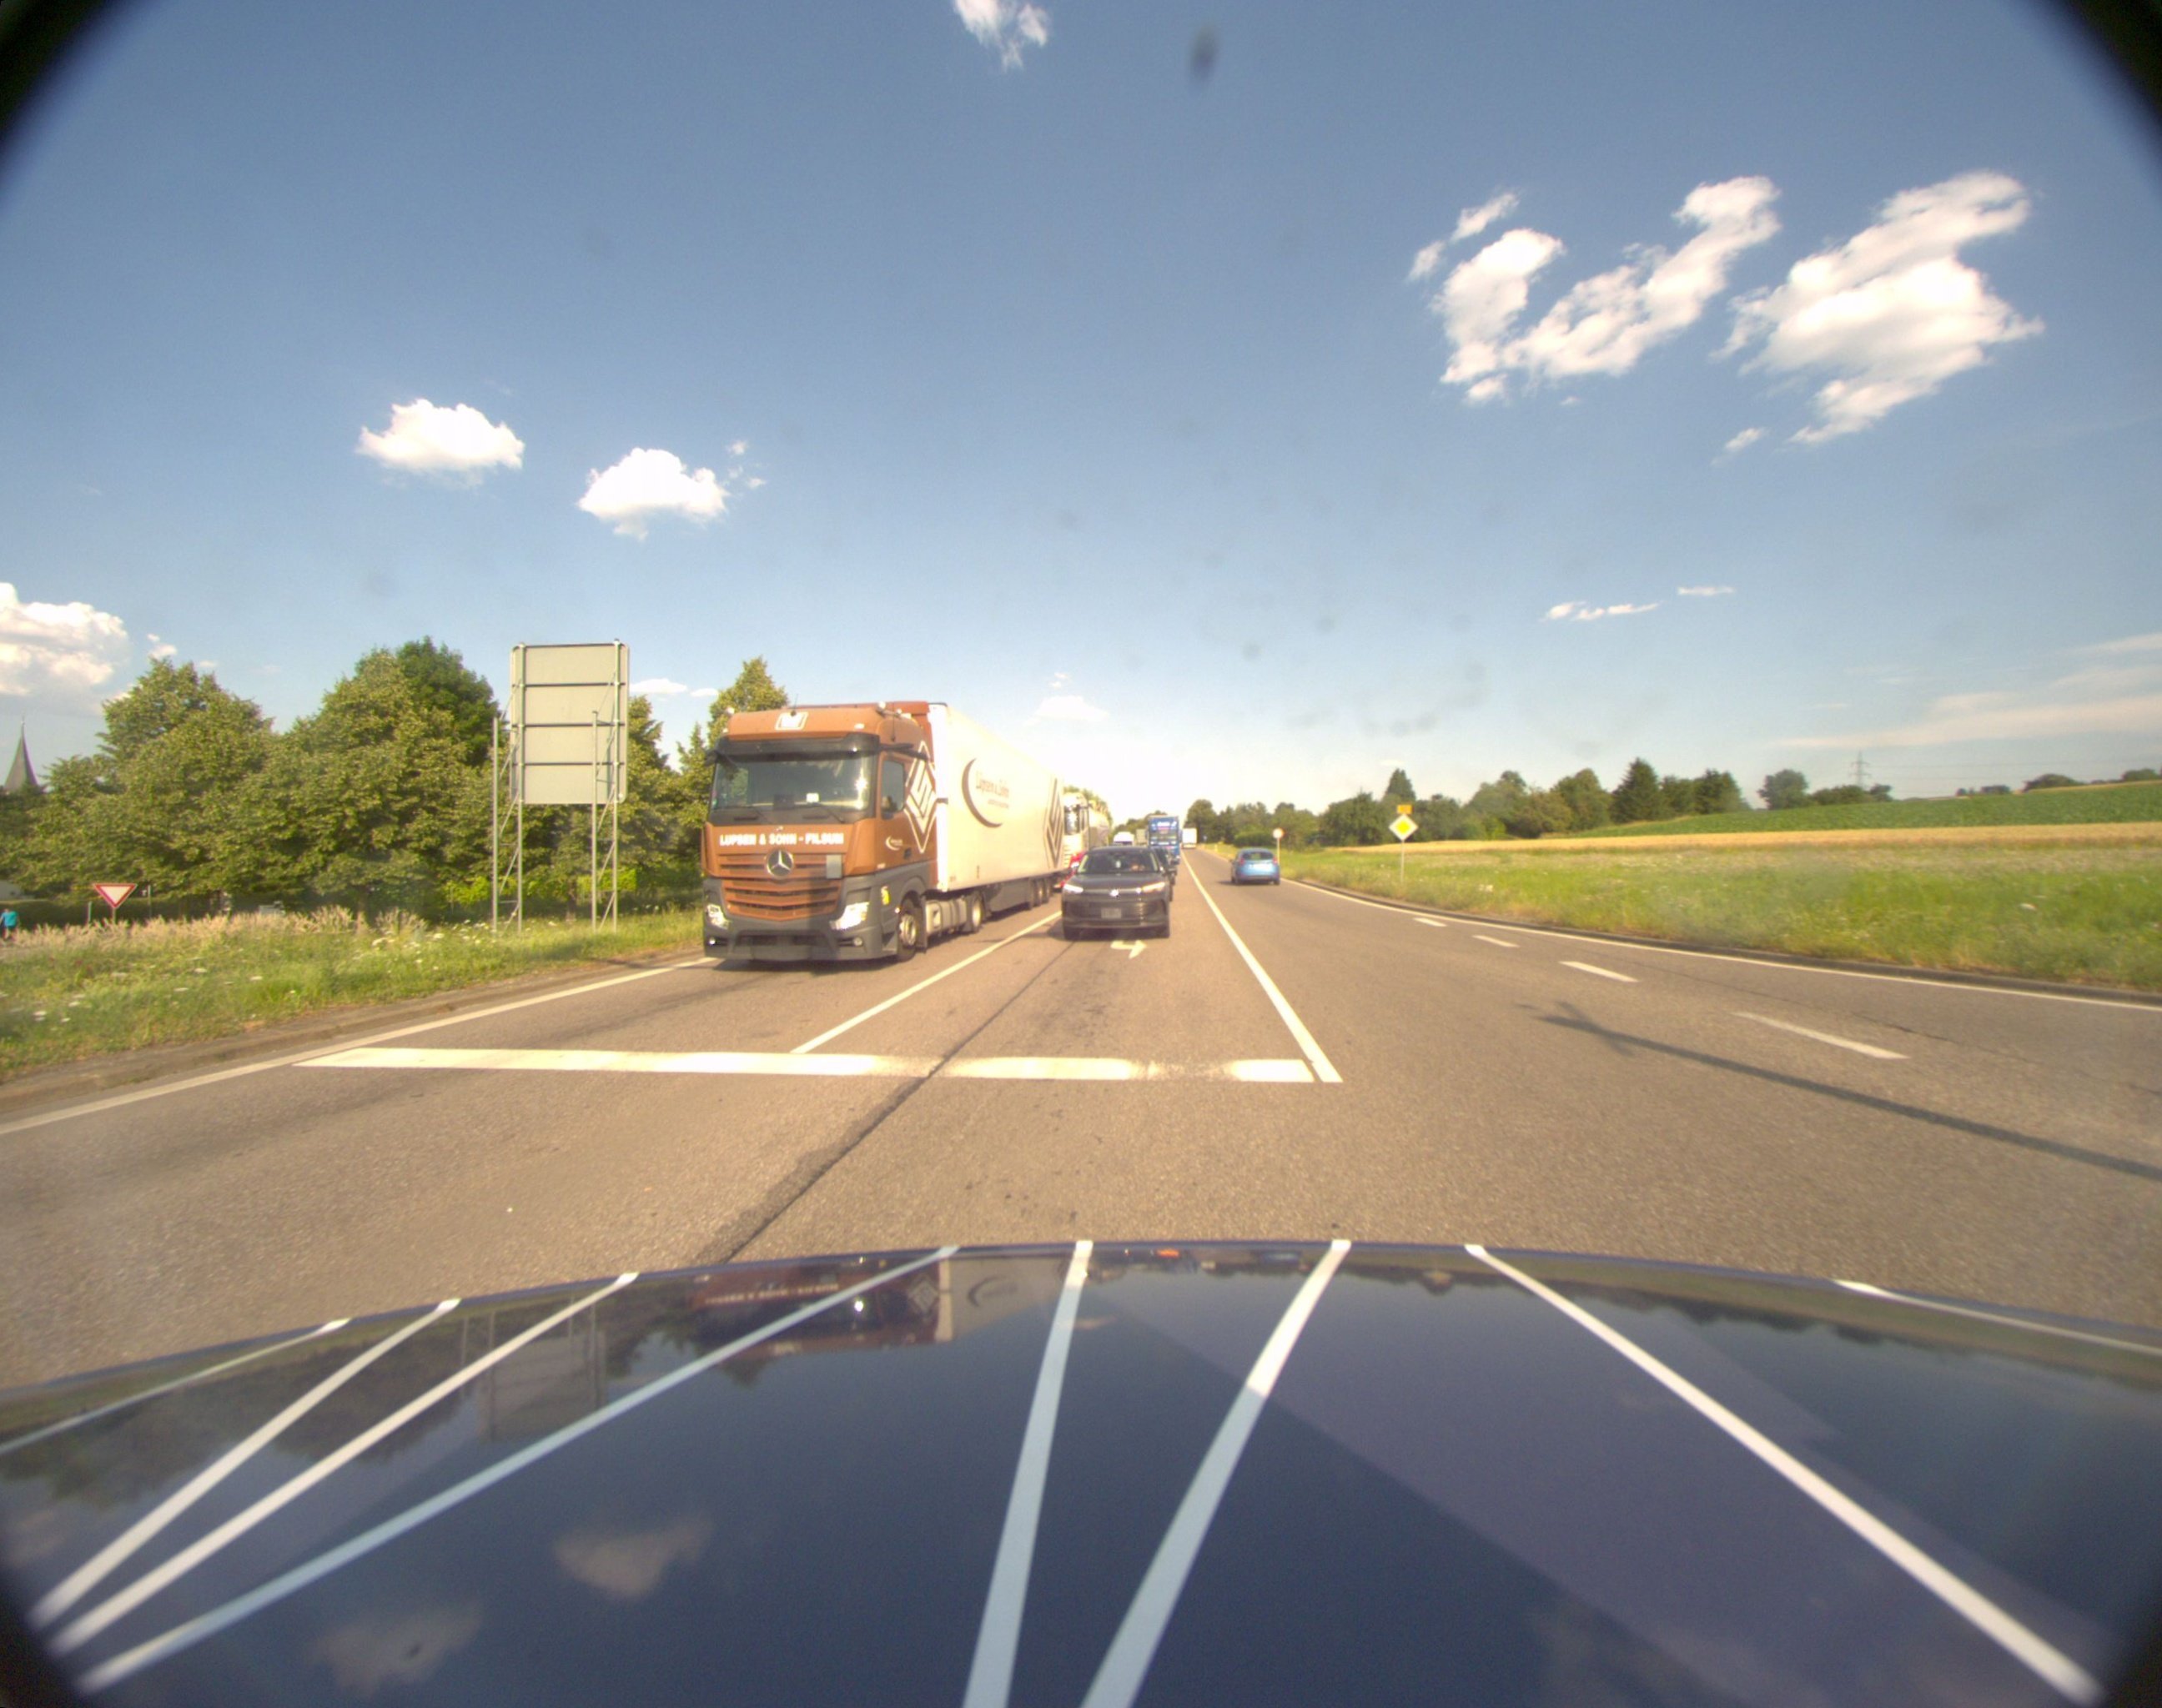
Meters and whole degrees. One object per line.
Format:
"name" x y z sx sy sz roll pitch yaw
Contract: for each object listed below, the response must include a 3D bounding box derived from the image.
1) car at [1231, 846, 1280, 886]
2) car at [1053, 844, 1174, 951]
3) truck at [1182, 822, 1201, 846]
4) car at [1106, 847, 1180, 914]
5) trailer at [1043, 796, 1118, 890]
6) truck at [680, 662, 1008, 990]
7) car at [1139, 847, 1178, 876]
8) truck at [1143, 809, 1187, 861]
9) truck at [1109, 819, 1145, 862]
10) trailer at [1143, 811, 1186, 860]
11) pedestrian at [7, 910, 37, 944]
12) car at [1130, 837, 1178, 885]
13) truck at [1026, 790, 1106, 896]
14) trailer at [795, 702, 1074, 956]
"car" 7.066 0.459 30.990 1.762 1.492 4.003 -1 0 10
"car" 0.777 0.668 14.229 1.787 1.620 4.471 -2 1 8
"truck" 22.231 -4.019 153.729 3.447 4.471 9.490 -2 1 7
"car" 1.868 0.672 21.618 1.774 1.604 4.550 -2 1 8
"trailer" 0.222 -0.528 35.910 2.263 3.755 9.528 -3 1 7
"truck" -3.310 -0.365 12.830 2.537 4.020 6.665 -2 1 8
"car" 4.382 0.398 42.639 1.997 1.477 4.001 -2 1 7
"truck" 6.969 -1.546 62.989 3.372 3.982 5.603 -2 1 7
"truck" 4.634 -1.290 74.411 2.527 3.752 12.904 -2 1 8
"trailer" 7.730 -1.673 69.950 3.415 3.982 13.754 -2 1 7
"pedestrian" -56.042 3.851 40.217 0.618 1.719 0.638 -3 1 -23
"car" 3.327 0.265 33.945 1.906 1.936 4.374 -3 1 8
"truck" -0.452 -0.440 30.330 2.260 3.783 5.688 -2 1 7
"trailer" -2.466 -0.451 19.483 2.537 4.043 14.342 -2 0 7
